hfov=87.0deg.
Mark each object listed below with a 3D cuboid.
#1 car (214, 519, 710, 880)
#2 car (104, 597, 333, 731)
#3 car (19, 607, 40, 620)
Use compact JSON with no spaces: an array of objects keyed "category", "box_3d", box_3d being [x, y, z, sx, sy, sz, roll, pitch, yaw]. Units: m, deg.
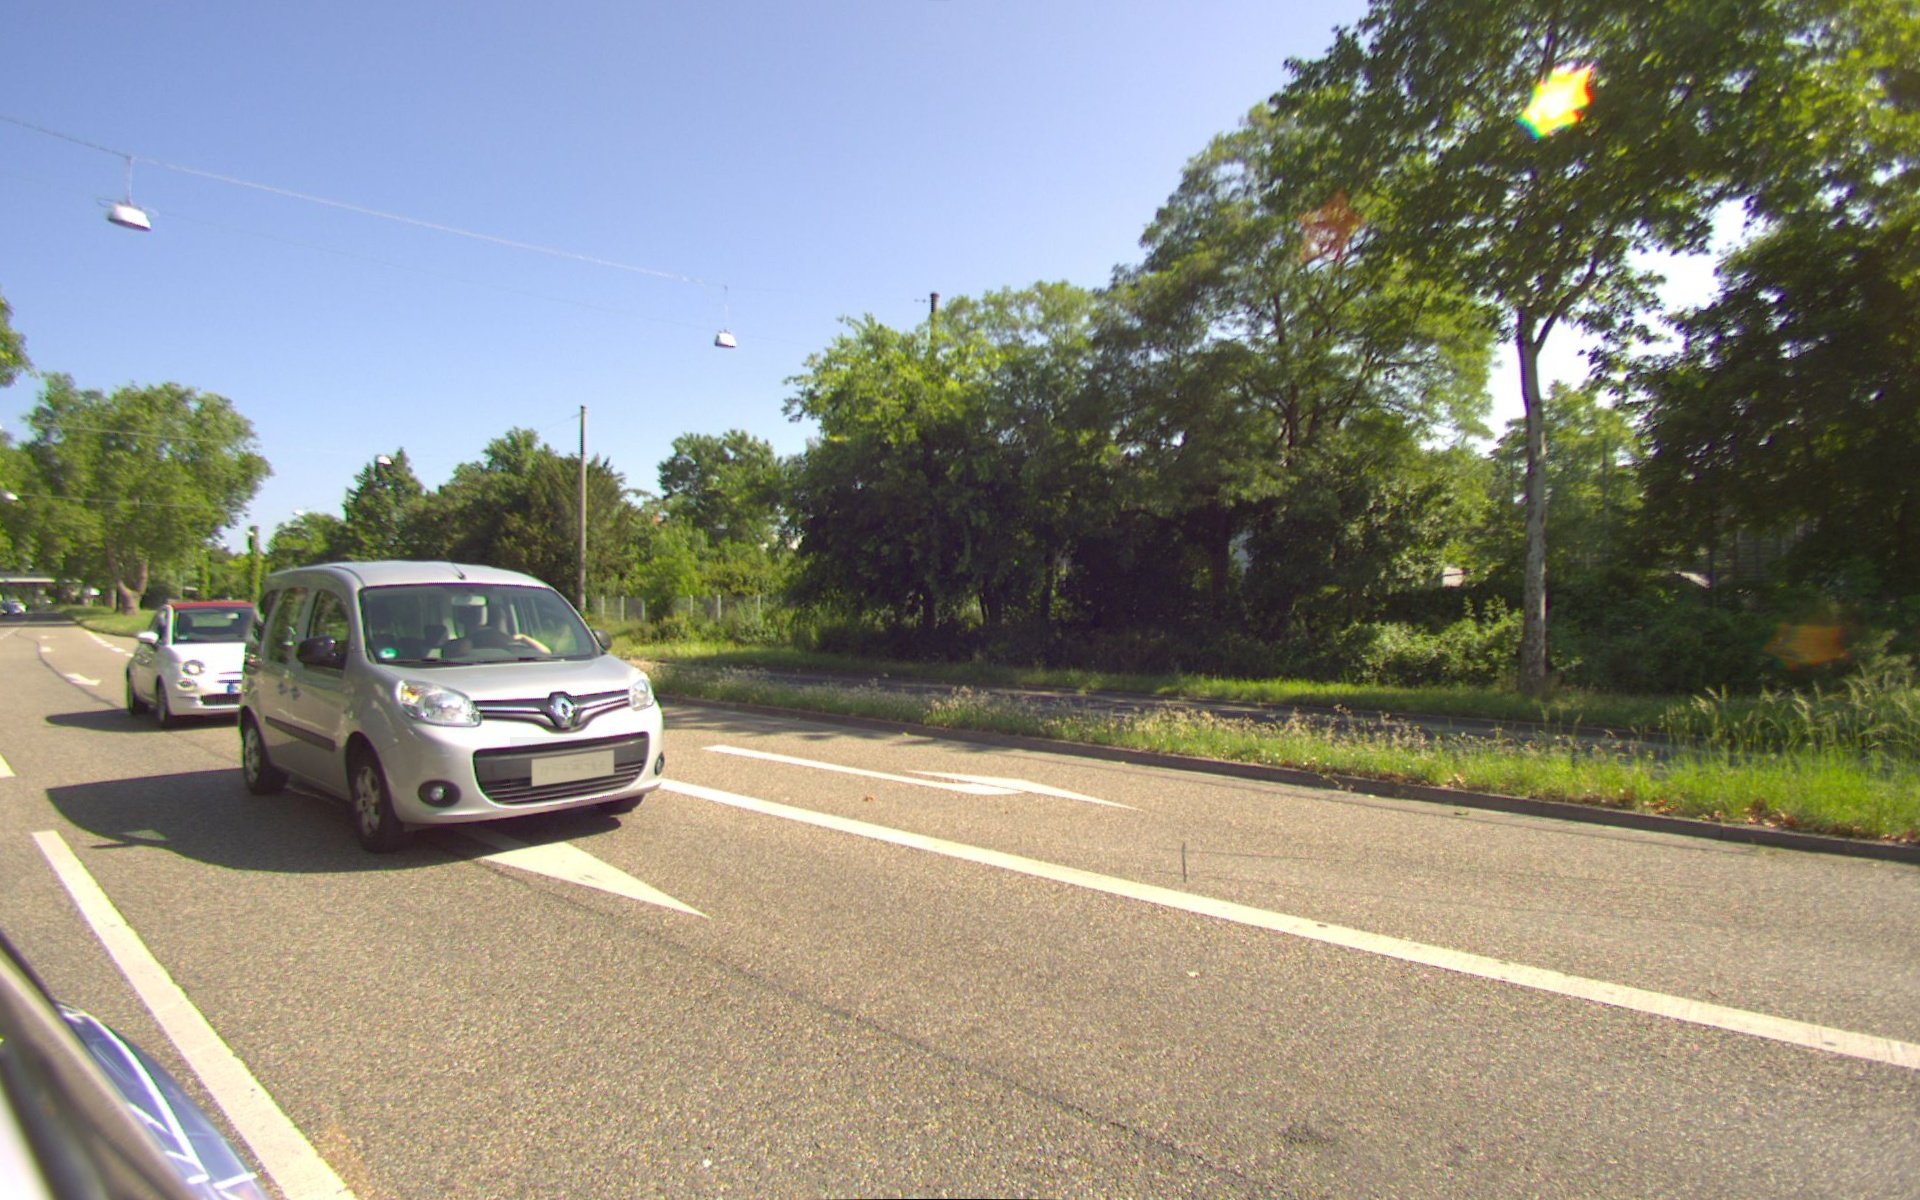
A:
[{"category":"car","box_3d":[-3.836,0.527,7.387,4.376,1.854,1.851,0,-1,43]},{"category":"car","box_3d":[-9.958,0.742,13.454,4.376,1.502,1.666,0,-1,43]},{"category":"car","box_3d":[-147.777,2.116,160.696,1.967,2.029,4.009,1,-1,-36]}]
